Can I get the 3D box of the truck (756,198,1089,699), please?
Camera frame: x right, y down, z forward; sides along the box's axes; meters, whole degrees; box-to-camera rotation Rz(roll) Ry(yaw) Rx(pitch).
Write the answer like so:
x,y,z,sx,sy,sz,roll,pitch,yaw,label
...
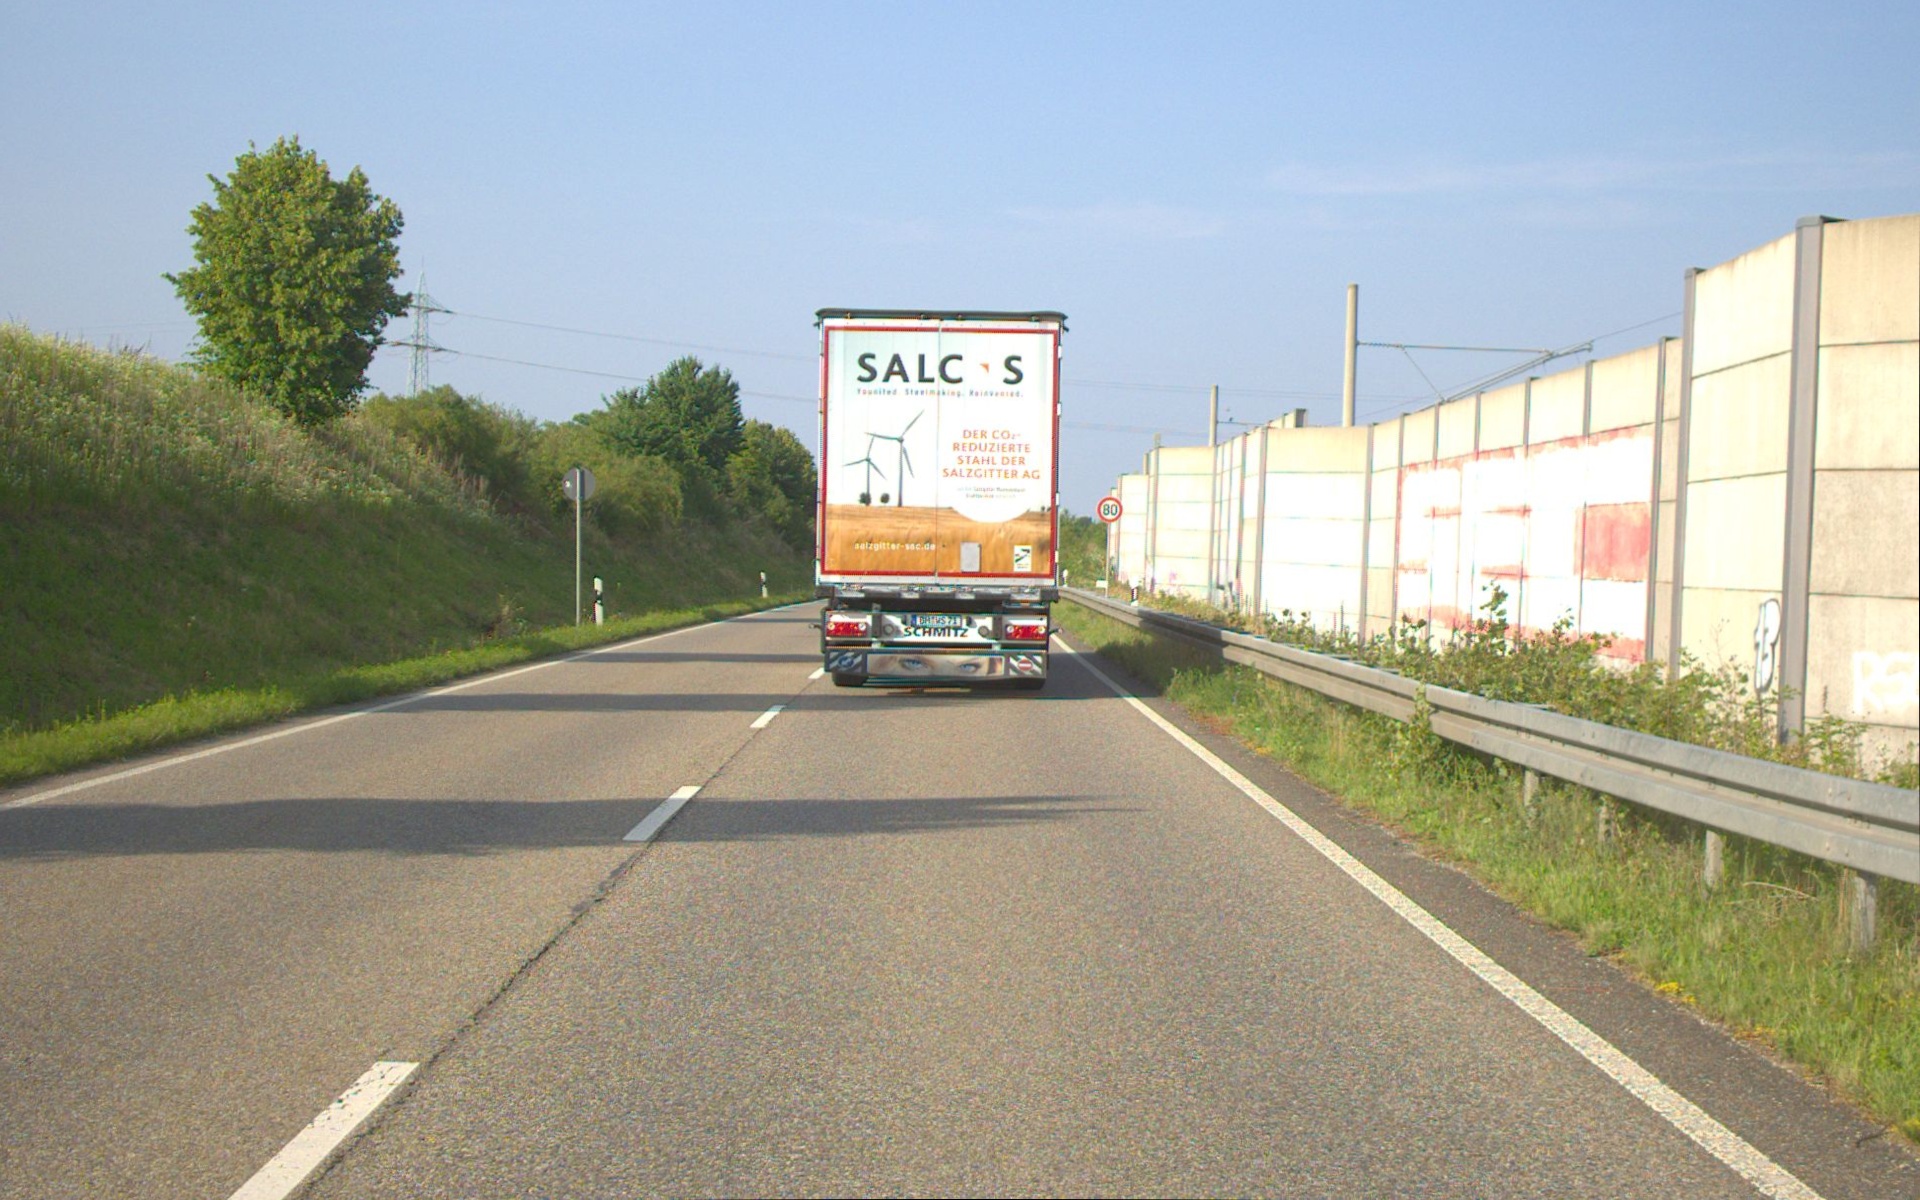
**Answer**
x,y,z,sx,sy,sz,roll,pitch,yaw,label
-0.520,-1.644,41.489,3.290,5.072,12.038,2,1,-1,truck
